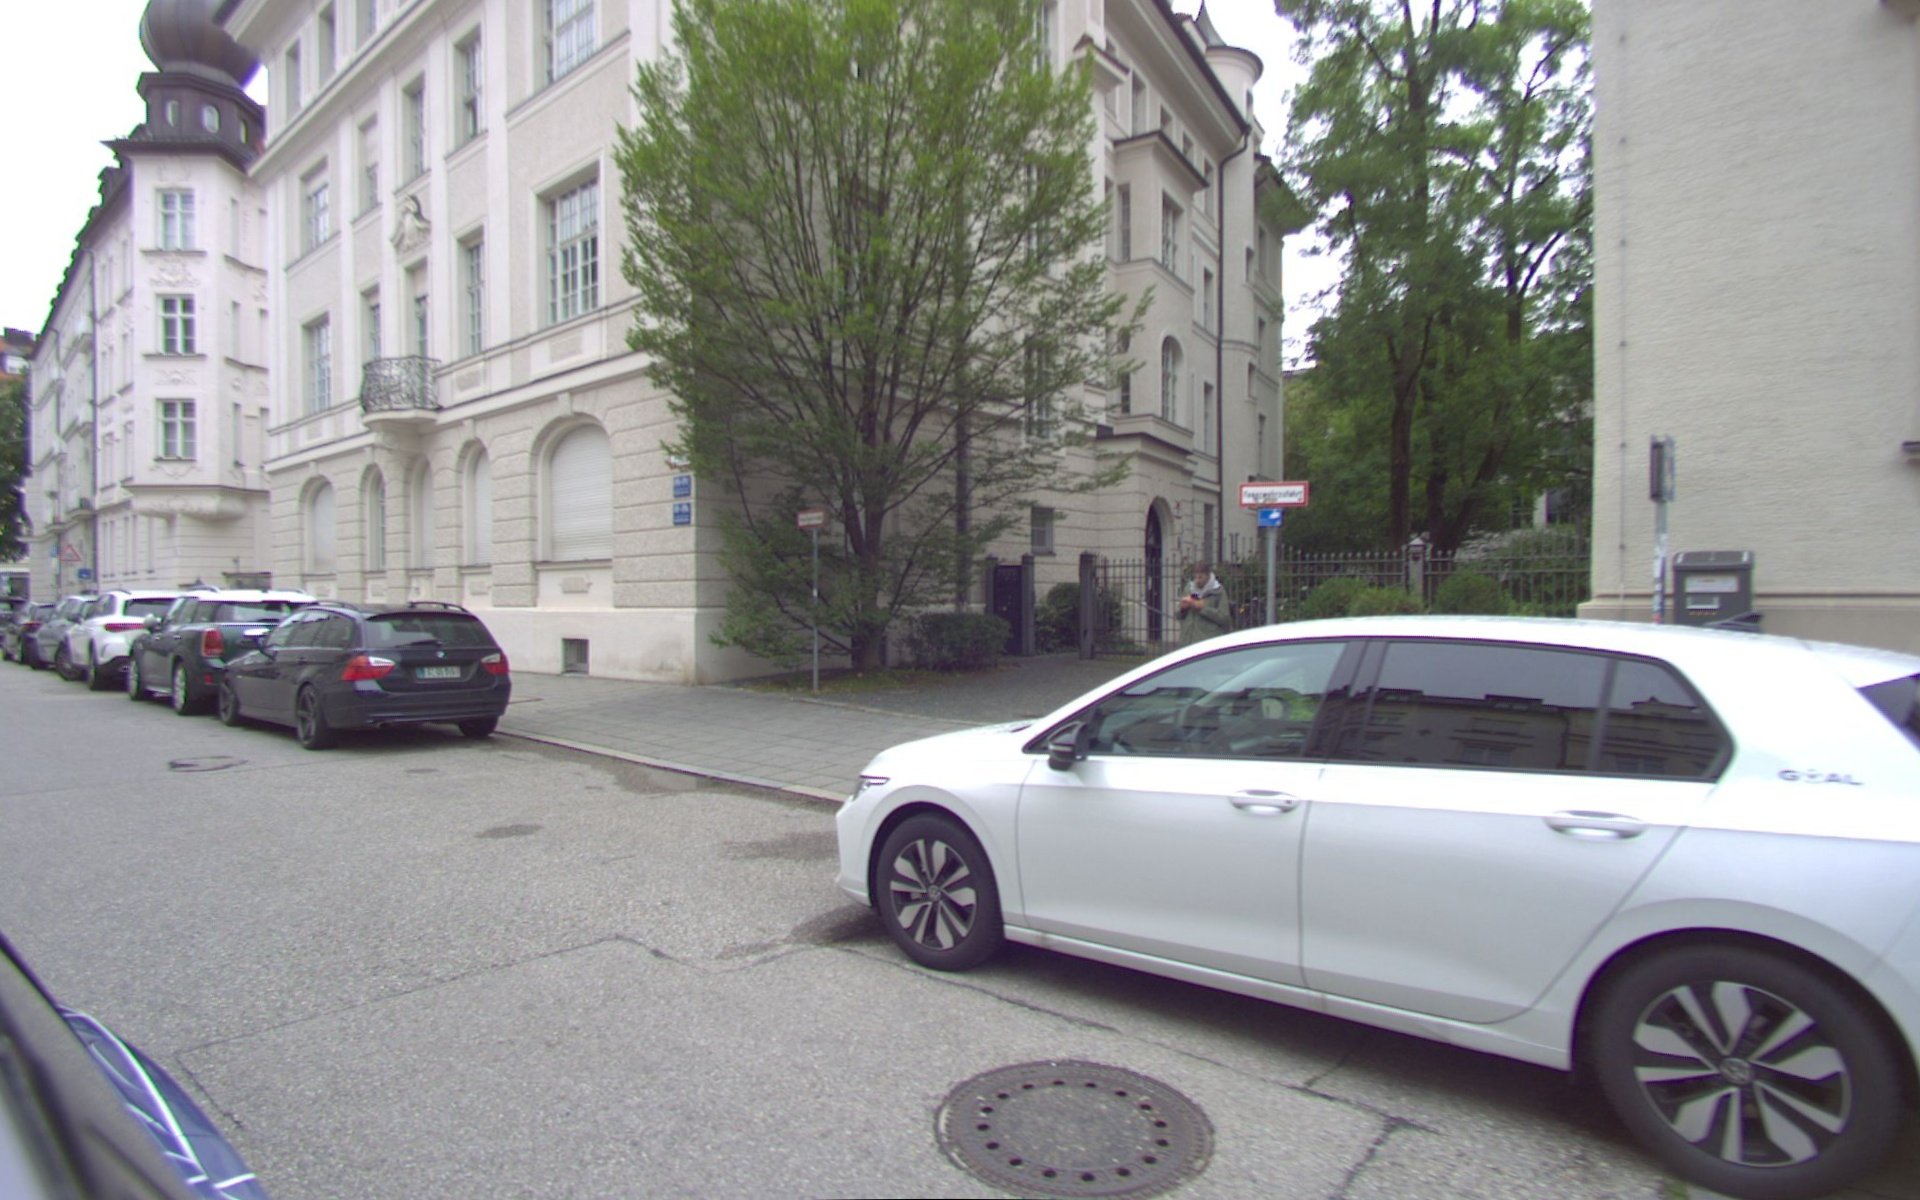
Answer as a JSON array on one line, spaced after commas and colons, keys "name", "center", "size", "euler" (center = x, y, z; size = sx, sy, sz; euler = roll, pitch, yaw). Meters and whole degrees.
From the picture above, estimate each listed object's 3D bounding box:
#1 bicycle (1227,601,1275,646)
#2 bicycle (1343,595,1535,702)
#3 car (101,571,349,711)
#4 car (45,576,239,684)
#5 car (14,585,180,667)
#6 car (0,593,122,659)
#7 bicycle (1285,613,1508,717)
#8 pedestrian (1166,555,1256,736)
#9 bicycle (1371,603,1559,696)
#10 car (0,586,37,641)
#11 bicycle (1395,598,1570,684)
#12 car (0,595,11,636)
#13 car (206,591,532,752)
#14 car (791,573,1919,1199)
[{"name": "bicycle", "center": [6.756, 0.534, 23.467], "size": [0.475, 0.999, 1.420], "euler": [0, 0, 42]}, {"name": "bicycle", "center": [5.417, 0.557, 11.526], "size": [1.819, 1.101, 0.606], "euler": [-4, 0, 43]}, {"name": "car", "center": [-10.143, 0.474, 13.847], "size": [4.242, 1.631, 1.817], "euler": [0, 0, 41]}, {"name": "car", "center": [-14.234, 0.447, 17.520], "size": [4.569, 1.631, 1.895], "euler": [0, 0, 42]}, {"name": "car", "center": [-18.054, 0.506, 21.112], "size": [4.251, 1.553, 1.766], "euler": [0, -2, 38]}, {"name": "car", "center": [-21.625, 0.583, 24.156], "size": [4.276, 1.426, 1.774], "euler": [0, -2, 41]}, {"name": "bicycle", "center": [4.572, 0.680, 10.716], "size": [2.009, 0.967, 0.686], "euler": [-4, 0, 43]}, {"name": "pedestrian", "center": [2.401, 0.412, 9.667], "size": [0.630, 1.638, 0.667], "euler": [0, 0, 38]}, {"name": "bicycle", "center": [6.015, 0.581, 12.132], "size": [1.907, 1.011, 0.578], "euler": [-2, 0, 43]}, {"name": "car", "center": [-30.204, 0.385, 31.403], "size": [4.117, 1.631, 1.709], "euler": [0, -2, 39]}, {"name": "bicycle", "center": [6.519, 0.518, 12.698], "size": [1.832, 1.005, 0.547], "euler": [-3, -2, 43]}, {"name": "car", "center": [-34.902, 0.529, 35.609], "size": [4.243, 1.405, 1.817], "euler": [0, -2, 42]}, {"name": "car", "center": [-6.596, 0.636, 11.094], "size": [4.364, 1.423, 1.769], "euler": [0, 0, 41]}, {"name": "car", "center": [1.459, 0.691, 3.861], "size": [4.240, 1.445, 1.818], "euler": [0, -2, 39]}]
